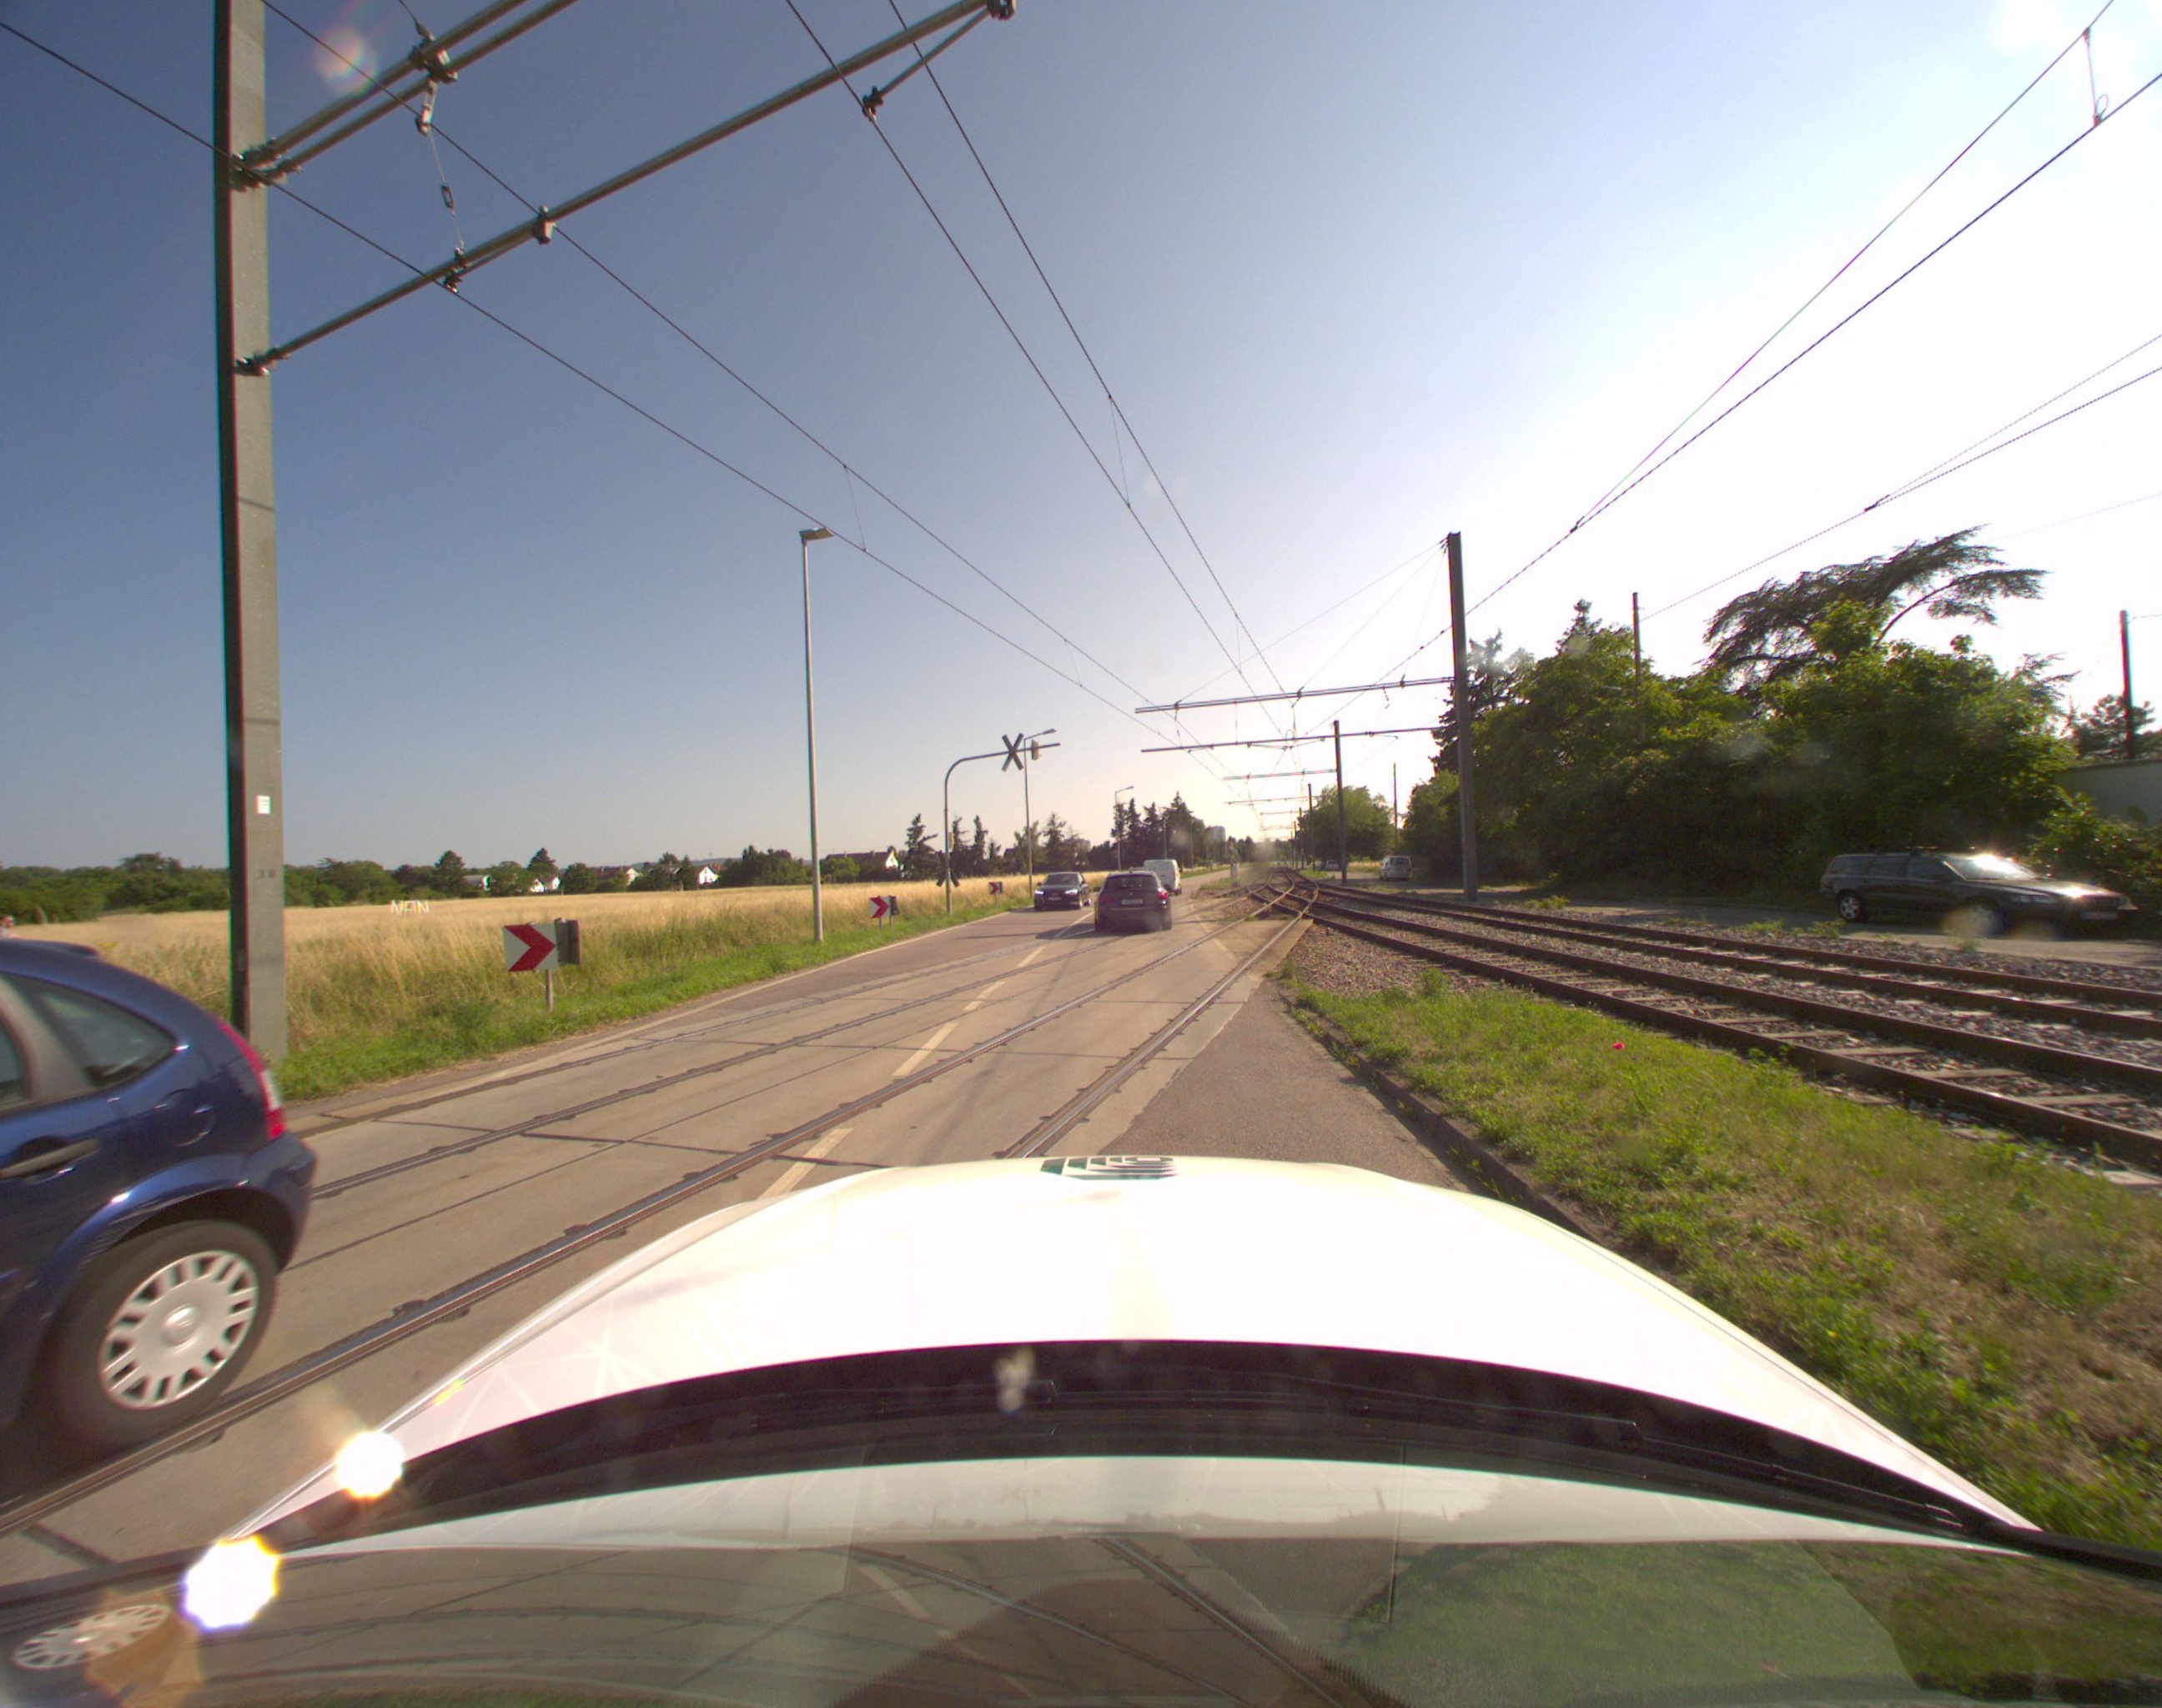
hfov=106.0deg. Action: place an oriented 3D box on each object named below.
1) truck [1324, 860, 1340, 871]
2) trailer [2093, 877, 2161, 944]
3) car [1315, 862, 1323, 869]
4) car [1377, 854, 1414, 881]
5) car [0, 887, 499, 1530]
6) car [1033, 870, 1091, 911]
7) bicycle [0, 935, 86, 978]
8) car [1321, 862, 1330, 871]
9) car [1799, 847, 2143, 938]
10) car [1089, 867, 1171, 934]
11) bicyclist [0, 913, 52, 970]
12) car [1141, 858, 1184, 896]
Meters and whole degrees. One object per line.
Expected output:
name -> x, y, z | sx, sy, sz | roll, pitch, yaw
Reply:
truck -> 42.388, 1.942, 137.516 | 2.189, 1.819, 5.950 | -2, -1, 13
trailer -> 16.417, 0.803, 10.715 | 1.723, 0.939, 3.732 | 0, -1, 4
car -> 53.259, 2.605, 182.466 | 1.610, 1.399, 3.502 | -1, -2, 14
car -> 24.605, 1.075, 63.847 | 1.980, 2.004, 5.084 | 0, -1, 13
car -> -3.411, 0.877, 1.523 | 1.617, 1.494, 4.002 | -3, -2, 2
car -> -0.678, 1.401, 32.421 | 1.684, 1.440, 4.292 | -1, -1, 7
bicycle -> -23.756, 2.299, 18.208 | 0.743, 0.839, 1.745 | -2, -1, 20
car -> 49.483, 2.544, 164.836 | 1.722, 1.680, 3.558 | -1, -3, 16
car -> 16.541, 0.638, 15.621 | 1.689, 1.456, 4.890 | 0, 0, 7
car -> 1.278, 1.110, 21.141 | 1.861, 1.452, 4.748 | -1, 0, 4
bicyclist -> -23.769, 1.940, 18.183 | 0.739, 1.205, 0.793 | -2, -1, 19
car -> 4.670, 1.269, 46.148 | 1.845, 1.988, 5.124 | -2, -1, 12
